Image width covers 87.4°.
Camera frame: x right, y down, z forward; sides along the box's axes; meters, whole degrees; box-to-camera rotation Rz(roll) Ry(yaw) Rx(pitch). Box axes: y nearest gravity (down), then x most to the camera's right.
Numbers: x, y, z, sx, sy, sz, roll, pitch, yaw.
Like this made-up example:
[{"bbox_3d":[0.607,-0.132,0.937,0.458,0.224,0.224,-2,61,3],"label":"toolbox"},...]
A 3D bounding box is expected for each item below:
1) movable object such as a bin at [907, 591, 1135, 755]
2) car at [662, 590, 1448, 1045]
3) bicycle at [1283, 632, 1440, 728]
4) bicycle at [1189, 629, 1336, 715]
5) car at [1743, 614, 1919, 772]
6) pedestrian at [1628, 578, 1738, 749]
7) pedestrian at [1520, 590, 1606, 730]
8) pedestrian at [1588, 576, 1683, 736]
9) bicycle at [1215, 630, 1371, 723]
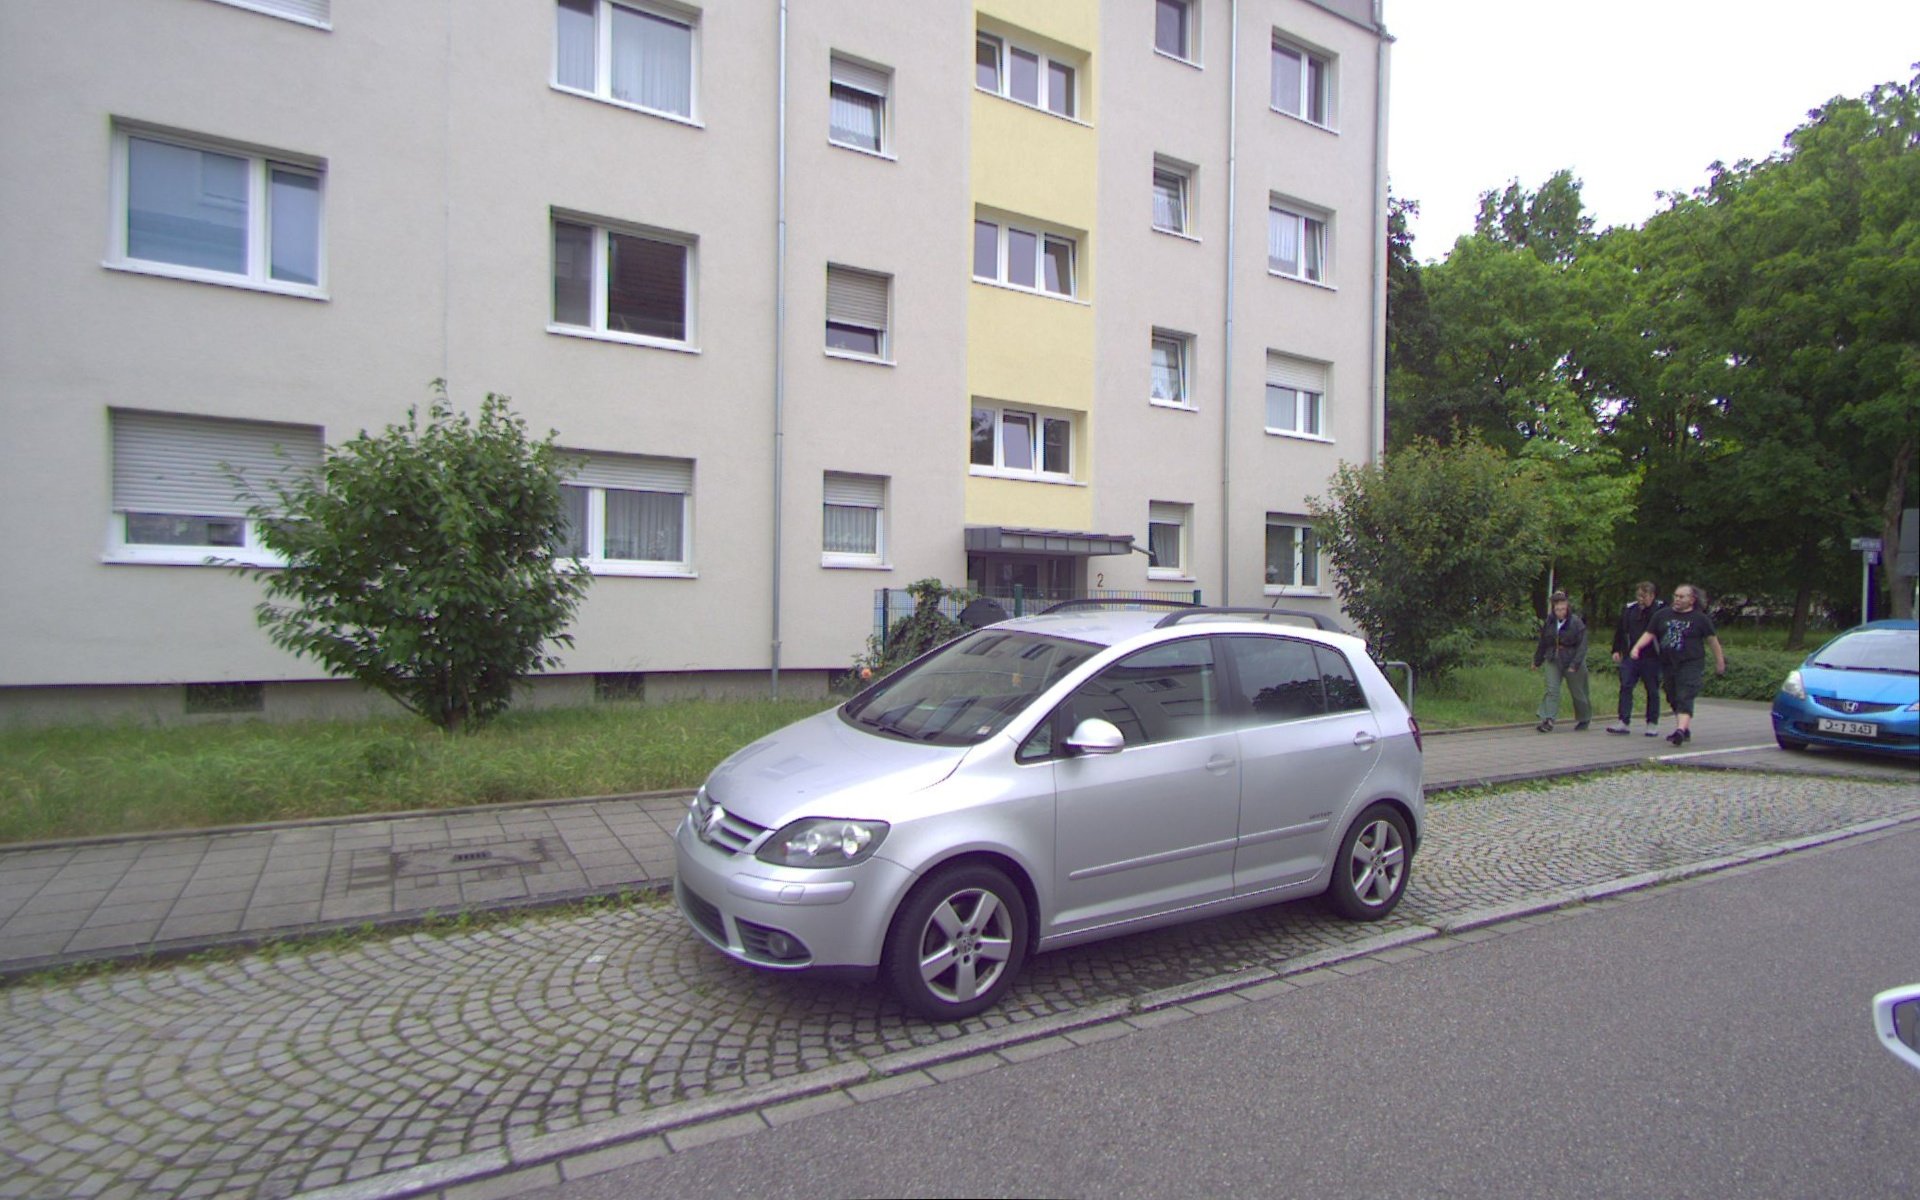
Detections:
[{"bbox_3d":[0.575,0.647,9.923,1.652,1.440,1.581,0,0,-31],"label":"movable object such as a bin"},{"bbox_3d":[0.608,0.777,5.249,3.871,1.571,1.645,1,1,-31],"label":"car"},{"bbox_3d":[5.033,0.965,12.543,2.096,1.082,0.654,0,0,-30],"label":"bicycle"},{"bbox_3d":[4.203,0.962,13.883,2.149,1.085,0.654,0,0,-30],"label":"bicycle"},{"bbox_3d":[10.849,0.952,11.405,3.910,1.482,1.722,1,2,-30],"label":"car"},{"bbox_3d":[8.368,0.700,11.635,0.963,1.889,0.637,0,2,-30],"label":"pedestrian"},{"bbox_3d":[7.474,0.721,12.454,0.793,1.679,0.611,0,0,-30],"label":"pedestrian"},{"bbox_3d":[8.254,0.657,12.275,0.754,1.879,0.703,0,0,-30],"label":"pedestrian"},{"bbox_3d":[4.335,0.956,13.015,2.149,1.085,0.654,0,0,-30],"label":"bicycle"}]
